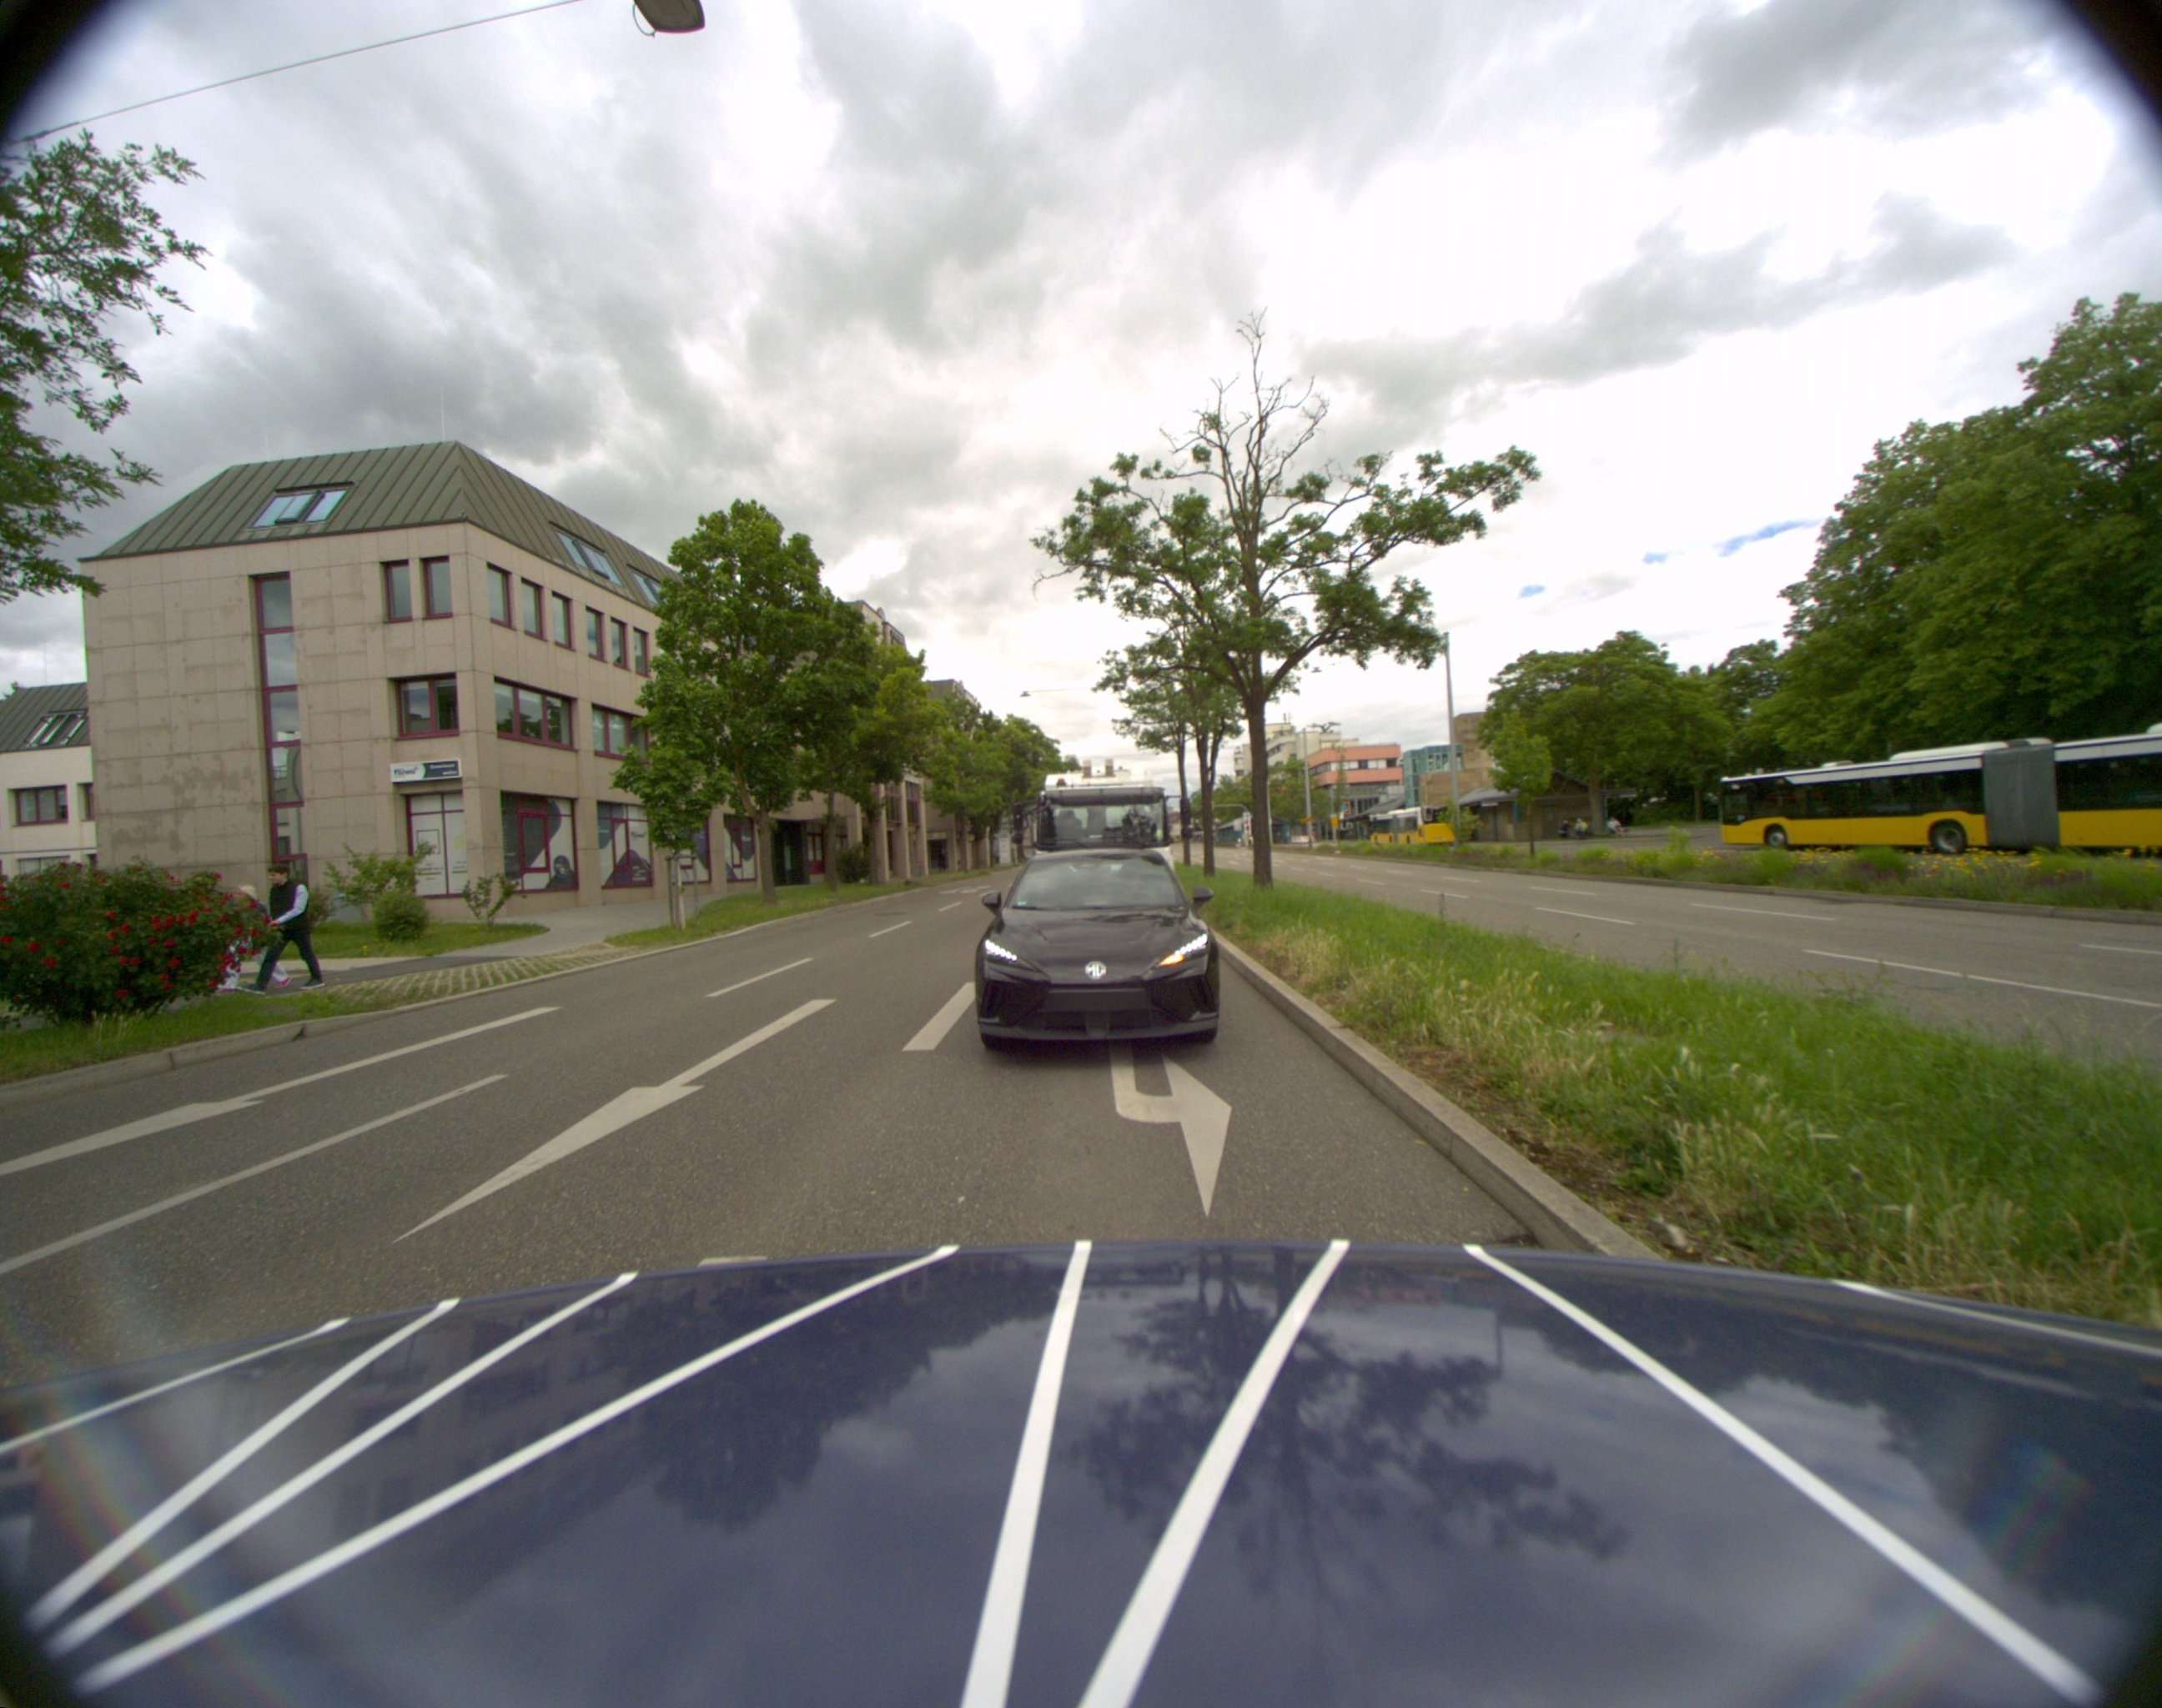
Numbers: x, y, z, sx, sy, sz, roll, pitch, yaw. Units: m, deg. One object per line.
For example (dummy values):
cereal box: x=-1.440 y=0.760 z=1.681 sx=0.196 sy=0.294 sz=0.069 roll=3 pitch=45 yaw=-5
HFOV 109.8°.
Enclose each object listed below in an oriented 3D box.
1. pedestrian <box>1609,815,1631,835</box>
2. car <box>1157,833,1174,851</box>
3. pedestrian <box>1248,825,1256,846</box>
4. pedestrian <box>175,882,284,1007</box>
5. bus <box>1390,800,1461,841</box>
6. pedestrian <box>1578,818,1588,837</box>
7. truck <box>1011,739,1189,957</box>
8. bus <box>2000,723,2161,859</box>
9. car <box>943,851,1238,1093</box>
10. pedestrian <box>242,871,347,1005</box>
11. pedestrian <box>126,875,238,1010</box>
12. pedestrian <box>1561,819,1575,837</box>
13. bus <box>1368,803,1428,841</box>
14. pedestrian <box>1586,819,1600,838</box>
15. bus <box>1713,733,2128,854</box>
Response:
pedestrian: x=32.356 y=-1.724 z=45.586 sx=0.650 sy=1.165 sz=0.925 roll=-2 pitch=2 yaw=1
car: x=10.015 y=-1.390 z=90.287 sx=1.726 sy=2.002 sz=4.000 roll=-3 pitch=1 yaw=3
pedestrian: x=22.108 y=-2.394 z=98.127 sx=0.903 sy=2.772 sz=1.148 roll=-2 pitch=2 yaw=14
pedestrian: x=-11.927 y=1.247 z=10.668 sx=0.642 sy=1.637 sz=0.677 roll=-3 pitch=1 yaw=1
bus: x=26.538 y=-2.481 z=58.999 sx=2.887 sy=2.793 sz=9.181 roll=-3 pitch=1 yaw=11
pedestrian: x=30.686 y=-1.612 z=46.445 sx=0.367 sy=1.160 sz=0.899 roll=-1 pitch=2 yaw=27
truck: x=0.363 y=-0.138 z=15.194 sx=2.544 sy=3.188 sz=7.367 roll=-3 pitch=1 yaw=1
bus: x=25.090 y=-1.436 z=15.803 sx=2.888 sy=2.985 sz=7.884 roll=-3 pitch=1 yaw=6
car: x=0.099 y=0.754 z=6.878 sx=1.827 sy=1.430 sz=3.999 roll=-3 pitch=1 yaw=1
pedestrian: x=-11.128 y=1.160 z=10.772 sx=0.642 sy=1.795 sz=0.677 roll=-3 pitch=1 yaw=1
pedestrian: x=-12.640 y=1.223 z=10.704 sx=0.642 sy=1.795 sz=0.677 roll=-3 pitch=1 yaw=1
pedestrian: x=31.073 y=-1.658 z=48.482 sx=0.598 sy=1.155 sz=0.743 roll=-2 pitch=2 yaw=21
bus: x=28.055 y=-2.778 z=67.682 sx=2.887 sy=2.985 sz=9.181 roll=-3 pitch=1 yaw=10
pedestrian: x=31.116 y=-1.541 z=46.155 sx=0.598 sy=1.155 sz=0.744 roll=-1 pitch=2 yaw=27
bus: x=26.069 y=-1.660 z=24.887 sx=2.888 sy=2.985 sz=10.396 roll=-3 pitch=1 yaw=6
